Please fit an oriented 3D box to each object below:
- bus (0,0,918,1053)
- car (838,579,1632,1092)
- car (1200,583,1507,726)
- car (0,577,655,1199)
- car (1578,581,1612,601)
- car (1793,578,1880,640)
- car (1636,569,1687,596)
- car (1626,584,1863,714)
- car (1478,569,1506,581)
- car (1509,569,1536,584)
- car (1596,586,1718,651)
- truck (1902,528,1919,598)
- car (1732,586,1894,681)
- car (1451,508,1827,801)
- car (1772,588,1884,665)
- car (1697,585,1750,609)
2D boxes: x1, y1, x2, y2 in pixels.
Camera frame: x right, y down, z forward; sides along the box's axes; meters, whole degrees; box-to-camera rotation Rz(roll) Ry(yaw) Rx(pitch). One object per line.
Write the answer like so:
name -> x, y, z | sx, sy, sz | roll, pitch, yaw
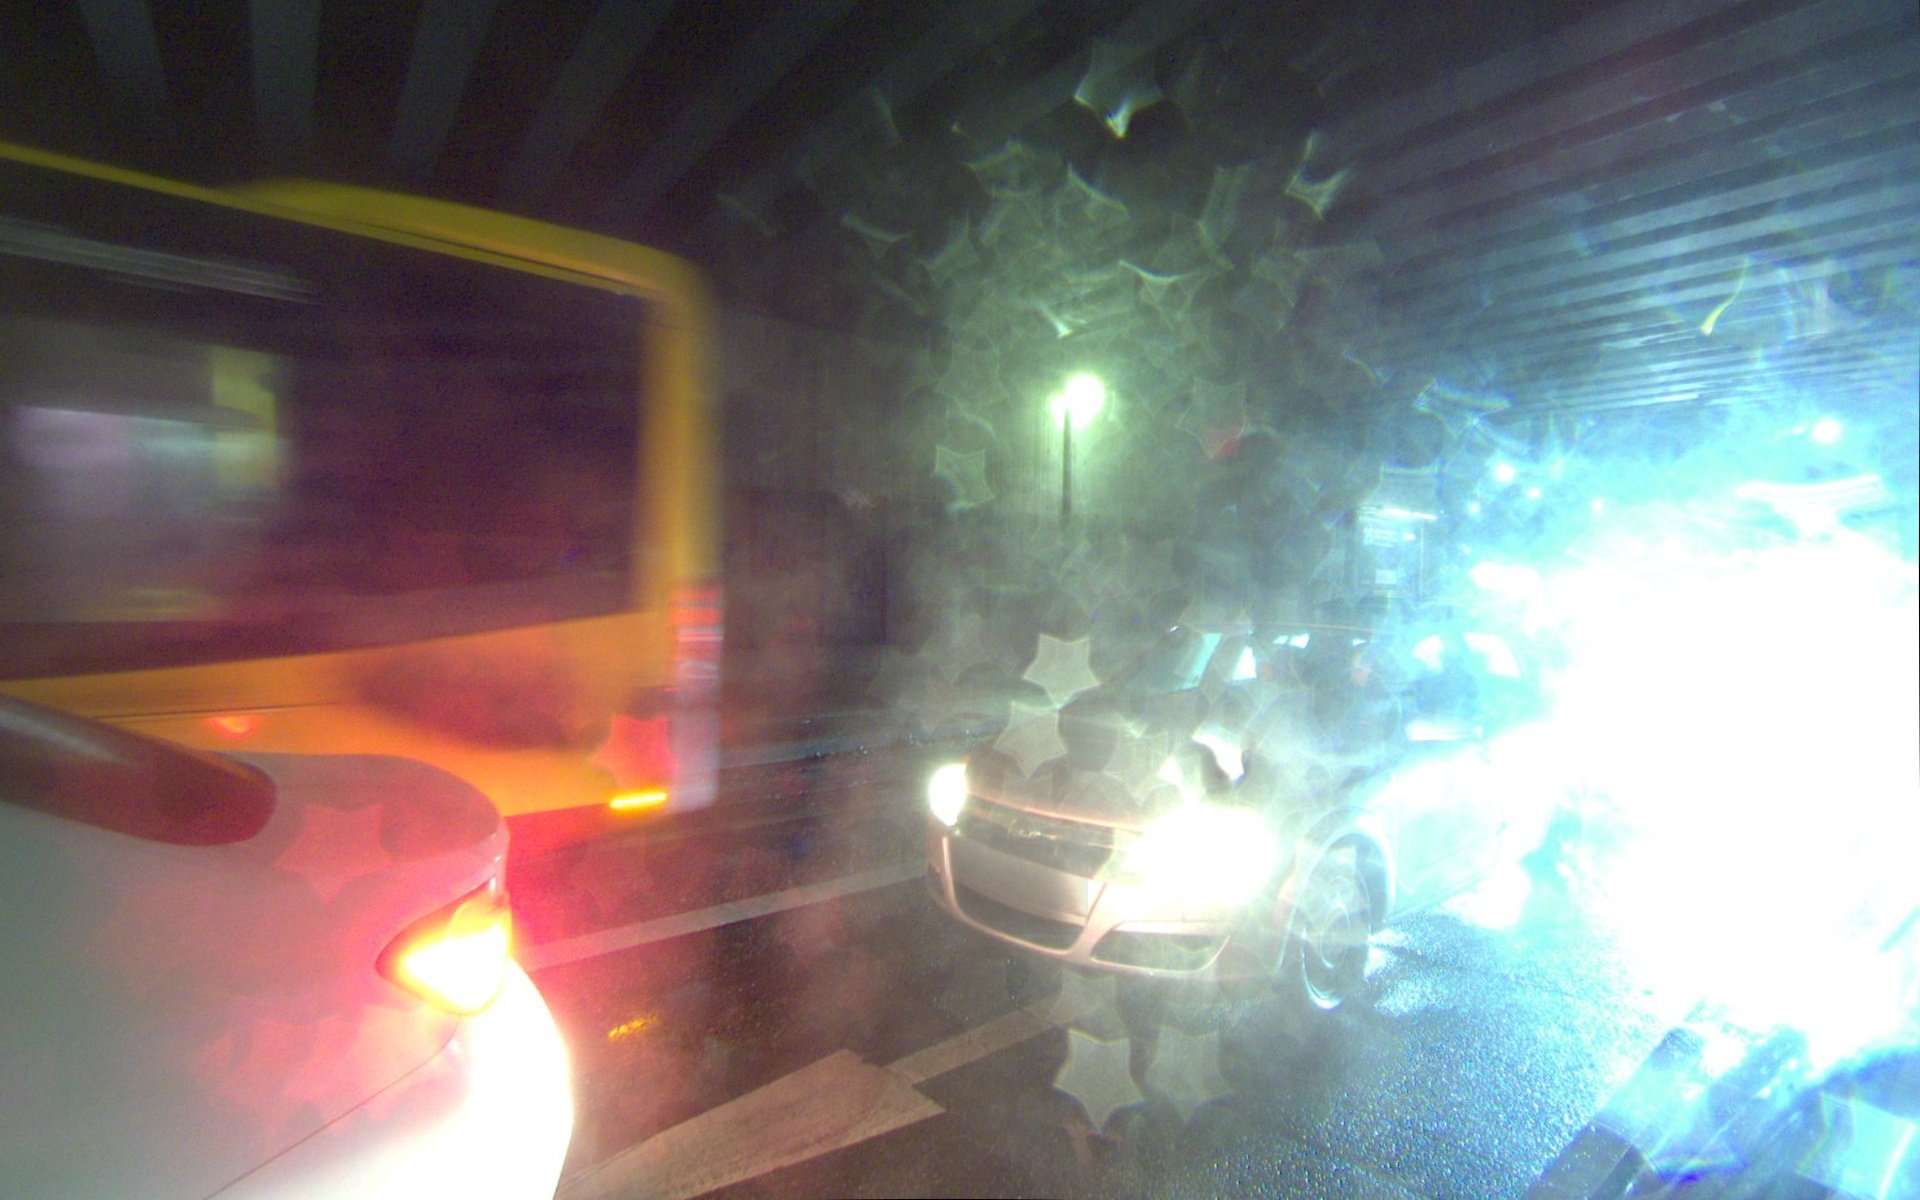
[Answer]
bus -> -4.721, -0.237, 3.243 | 9.592, 3.163, 2.773 | 0, 0, -41
car -> 1.558, 0.630, 4.834 | 3.931, 1.384, 1.791 | -2, 2, -41
car -> 5.104, 0.541, 12.777 | 4.551, 1.497, 1.839 | -1, 0, -43
car -> -2.688, 0.695, 0.982 | 4.273, 1.422, 1.719 | -1, 0, -41
car -> 47.879, -0.678, 76.352 | 1.865, 1.490, 3.961 | 0, 0, 28
car -> 24.583, 0.217, 28.362 | 1.737, 1.610, 3.939 | 0, 0, 42
car -> 40.024, -1.043, 57.834 | 1.836, 1.449, 4.460 | 0, 2, 28
car -> 10.767, 0.555, 13.811 | 3.701, 1.531, 1.867 | -1, 0, -41
car -> 66.339, -3.106, 126.267 | 1.851, 1.490, 3.991 | 0, 0, 8
car -> 59.661, -2.466, 107.416 | 1.859, 1.490, 3.973 | 0, 0, 21
car -> 17.955, 0.432, 25.990 | 1.848, 1.503, 4.555 | 2, 1, 44
truck -> 59.732, -2.259, 60.087 | 3.931, 4.229, 6.317 | 0, 0, 27
car -> 15.364, 0.520, 18.162 | 3.930, 1.522, 1.628 | -1, 0, -41
car -> 6.502, 0.367, 9.489 | 4.274, 2.115, 1.996 | -1, 0, -43
car -> 18.747, 0.500, 21.806 | 1.678, 1.490, 3.938 | 0, 0, 43
car -> 49.544, -0.193, 65.724 | 1.835, 1.503, 4.446 | 1, 1, 25
